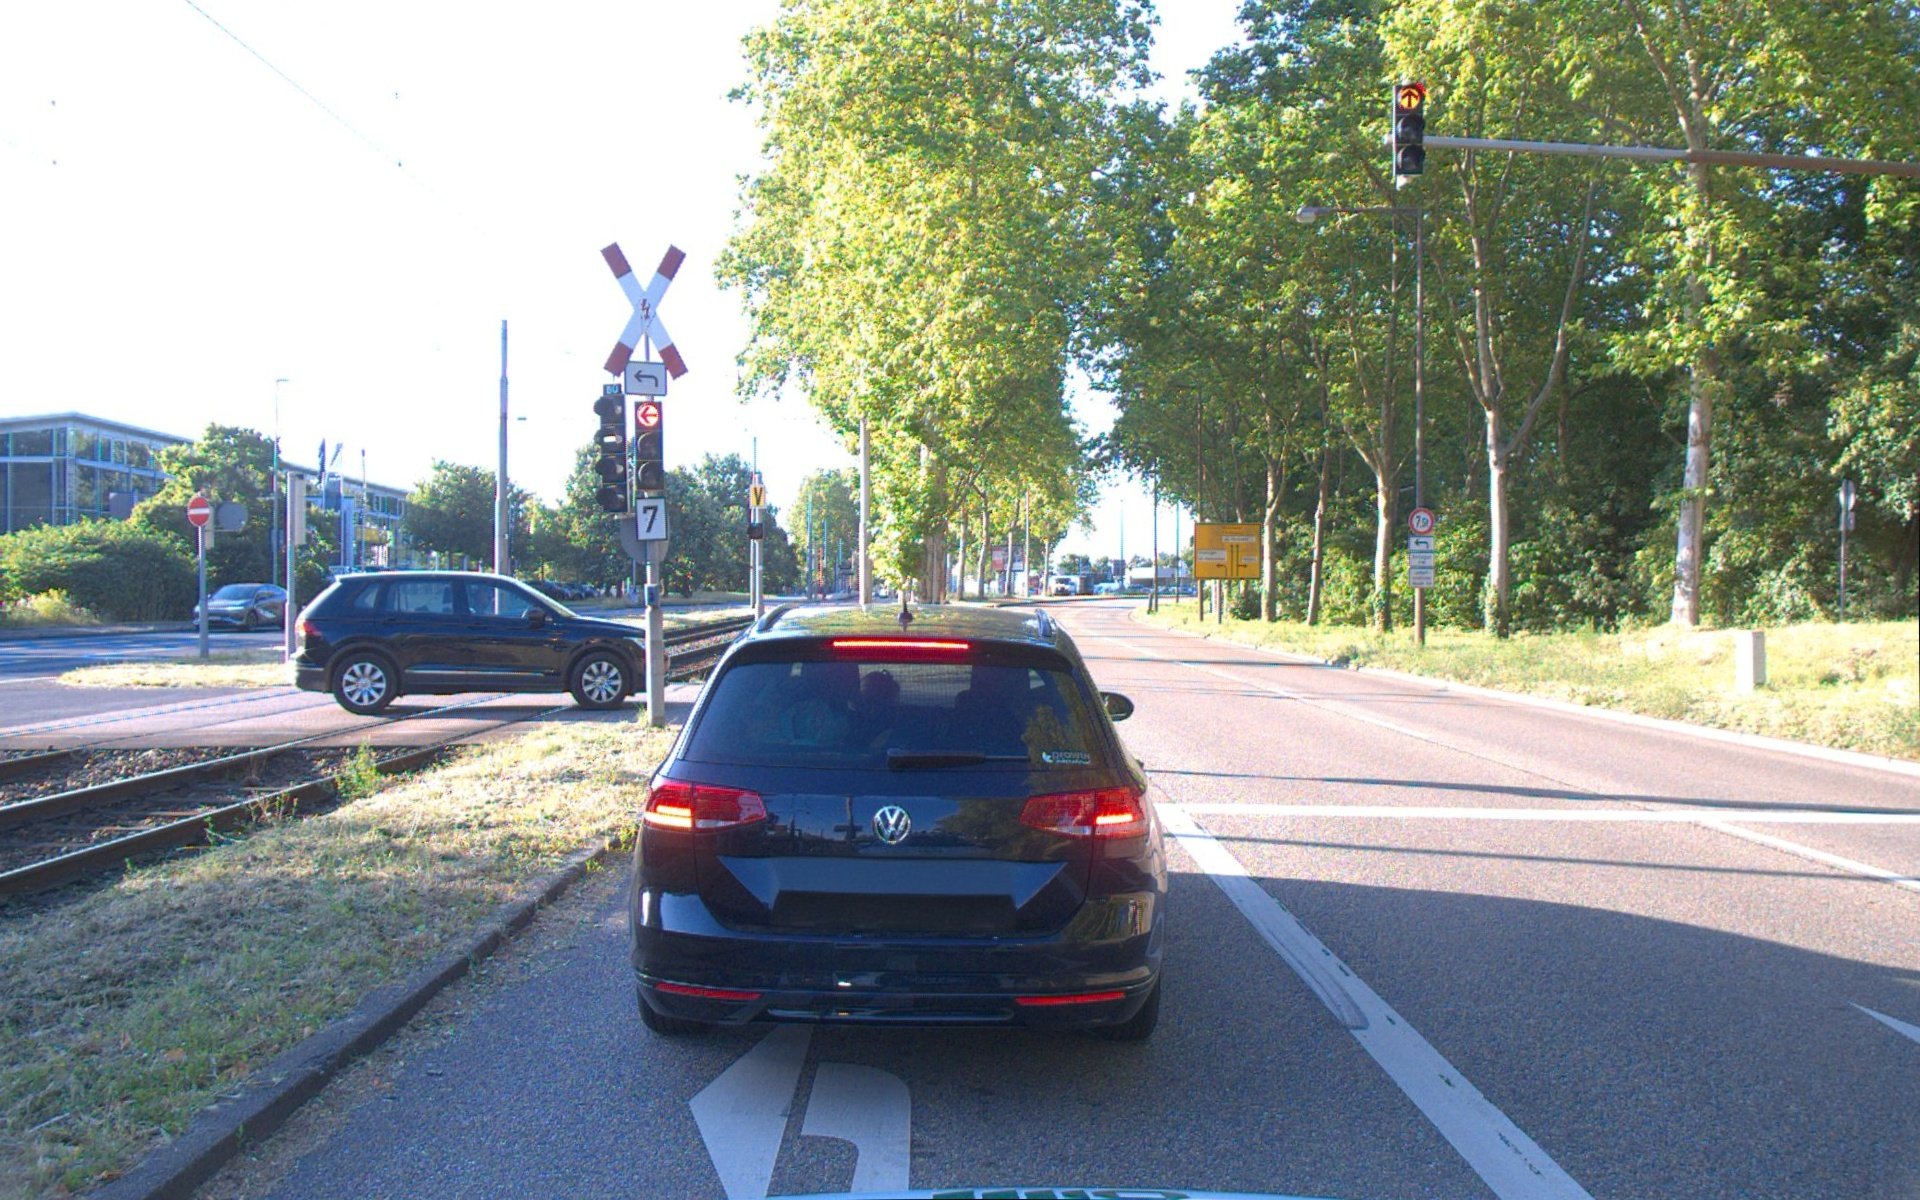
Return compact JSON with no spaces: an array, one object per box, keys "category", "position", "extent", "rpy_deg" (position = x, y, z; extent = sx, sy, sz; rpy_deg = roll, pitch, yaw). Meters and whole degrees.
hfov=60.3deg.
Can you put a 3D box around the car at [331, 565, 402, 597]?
[{"category":"car","position":[-35.546,-1.148,99.036],"extent":[3.930,1.848,1.732],"rpy_deg":[1,0,-22]}]

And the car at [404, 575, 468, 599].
[{"category":"car","position":[-36.036,-0.862,113.819],"extent":[3.913,1.583,1.740],"rpy_deg":[1,0,-9]}]

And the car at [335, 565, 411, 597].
[{"category":"car","position":[-32.908,-1.043,92.734],"extent":[3.930,1.734,1.732],"rpy_deg":[1,0,-22]}]

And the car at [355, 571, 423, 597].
[{"category":"car","position":[-35.199,-0.976,101.951],"extent":[3.930,1.583,1.732],"rpy_deg":[1,0,-22]}]

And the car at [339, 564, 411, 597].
[{"category":"car","position":[-34.439,-1.116,97.298],"extent":[3.930,1.848,1.732],"rpy_deg":[1,0,-22]}]

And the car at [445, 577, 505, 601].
[{"category":"car","position":[-35.567,-0.805,121.273],"extent":[3.909,1.649,1.742],"rpy_deg":[1,0,-6]}]

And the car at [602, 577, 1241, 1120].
[{"category":"car","position":[-0.138,0.693,6.409],"extent":[1.758,1.490,3.582],"rpy_deg":[1,0,-1]}]

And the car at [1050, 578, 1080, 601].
[{"category":"car","position":[11.588,-1.138,182.081],"extent":[2.051,2.504,5.856],"rpy_deg":[1,1,16]}]

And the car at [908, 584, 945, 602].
[{"category":"car","position":[-2.931,-0.600,145.392],"extent":[1.824,1.507,4.091],"rpy_deg":[1,1,21]}]

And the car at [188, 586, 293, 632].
[{"category":"car","position":[-25.328,0.294,58.384],"extent":[1.823,1.507,4.172],"rpy_deg":[1,1,1]}]

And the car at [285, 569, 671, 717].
[{"category":"car","position":[-5.732,0.462,20.035],"extent":[4.282,1.663,1.871],"rpy_deg":[0,0,-14]}]

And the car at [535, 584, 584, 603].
[{"category":"car","position":[-35.217,-0.555,145.392],"extent":[3.909,1.649,1.742],"rpy_deg":[1,0,-6]}]

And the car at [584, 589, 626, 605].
[{"category":"car","position":[-35.960,-0.330,167.453],"extent":[3.909,1.583,1.742],"rpy_deg":[1,0,-5]}]

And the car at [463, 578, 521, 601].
[{"category":"car","position":[-35.237,-0.764,124.489],"extent":[3.909,1.649,1.742],"rpy_deg":[1,0,-6]}]
